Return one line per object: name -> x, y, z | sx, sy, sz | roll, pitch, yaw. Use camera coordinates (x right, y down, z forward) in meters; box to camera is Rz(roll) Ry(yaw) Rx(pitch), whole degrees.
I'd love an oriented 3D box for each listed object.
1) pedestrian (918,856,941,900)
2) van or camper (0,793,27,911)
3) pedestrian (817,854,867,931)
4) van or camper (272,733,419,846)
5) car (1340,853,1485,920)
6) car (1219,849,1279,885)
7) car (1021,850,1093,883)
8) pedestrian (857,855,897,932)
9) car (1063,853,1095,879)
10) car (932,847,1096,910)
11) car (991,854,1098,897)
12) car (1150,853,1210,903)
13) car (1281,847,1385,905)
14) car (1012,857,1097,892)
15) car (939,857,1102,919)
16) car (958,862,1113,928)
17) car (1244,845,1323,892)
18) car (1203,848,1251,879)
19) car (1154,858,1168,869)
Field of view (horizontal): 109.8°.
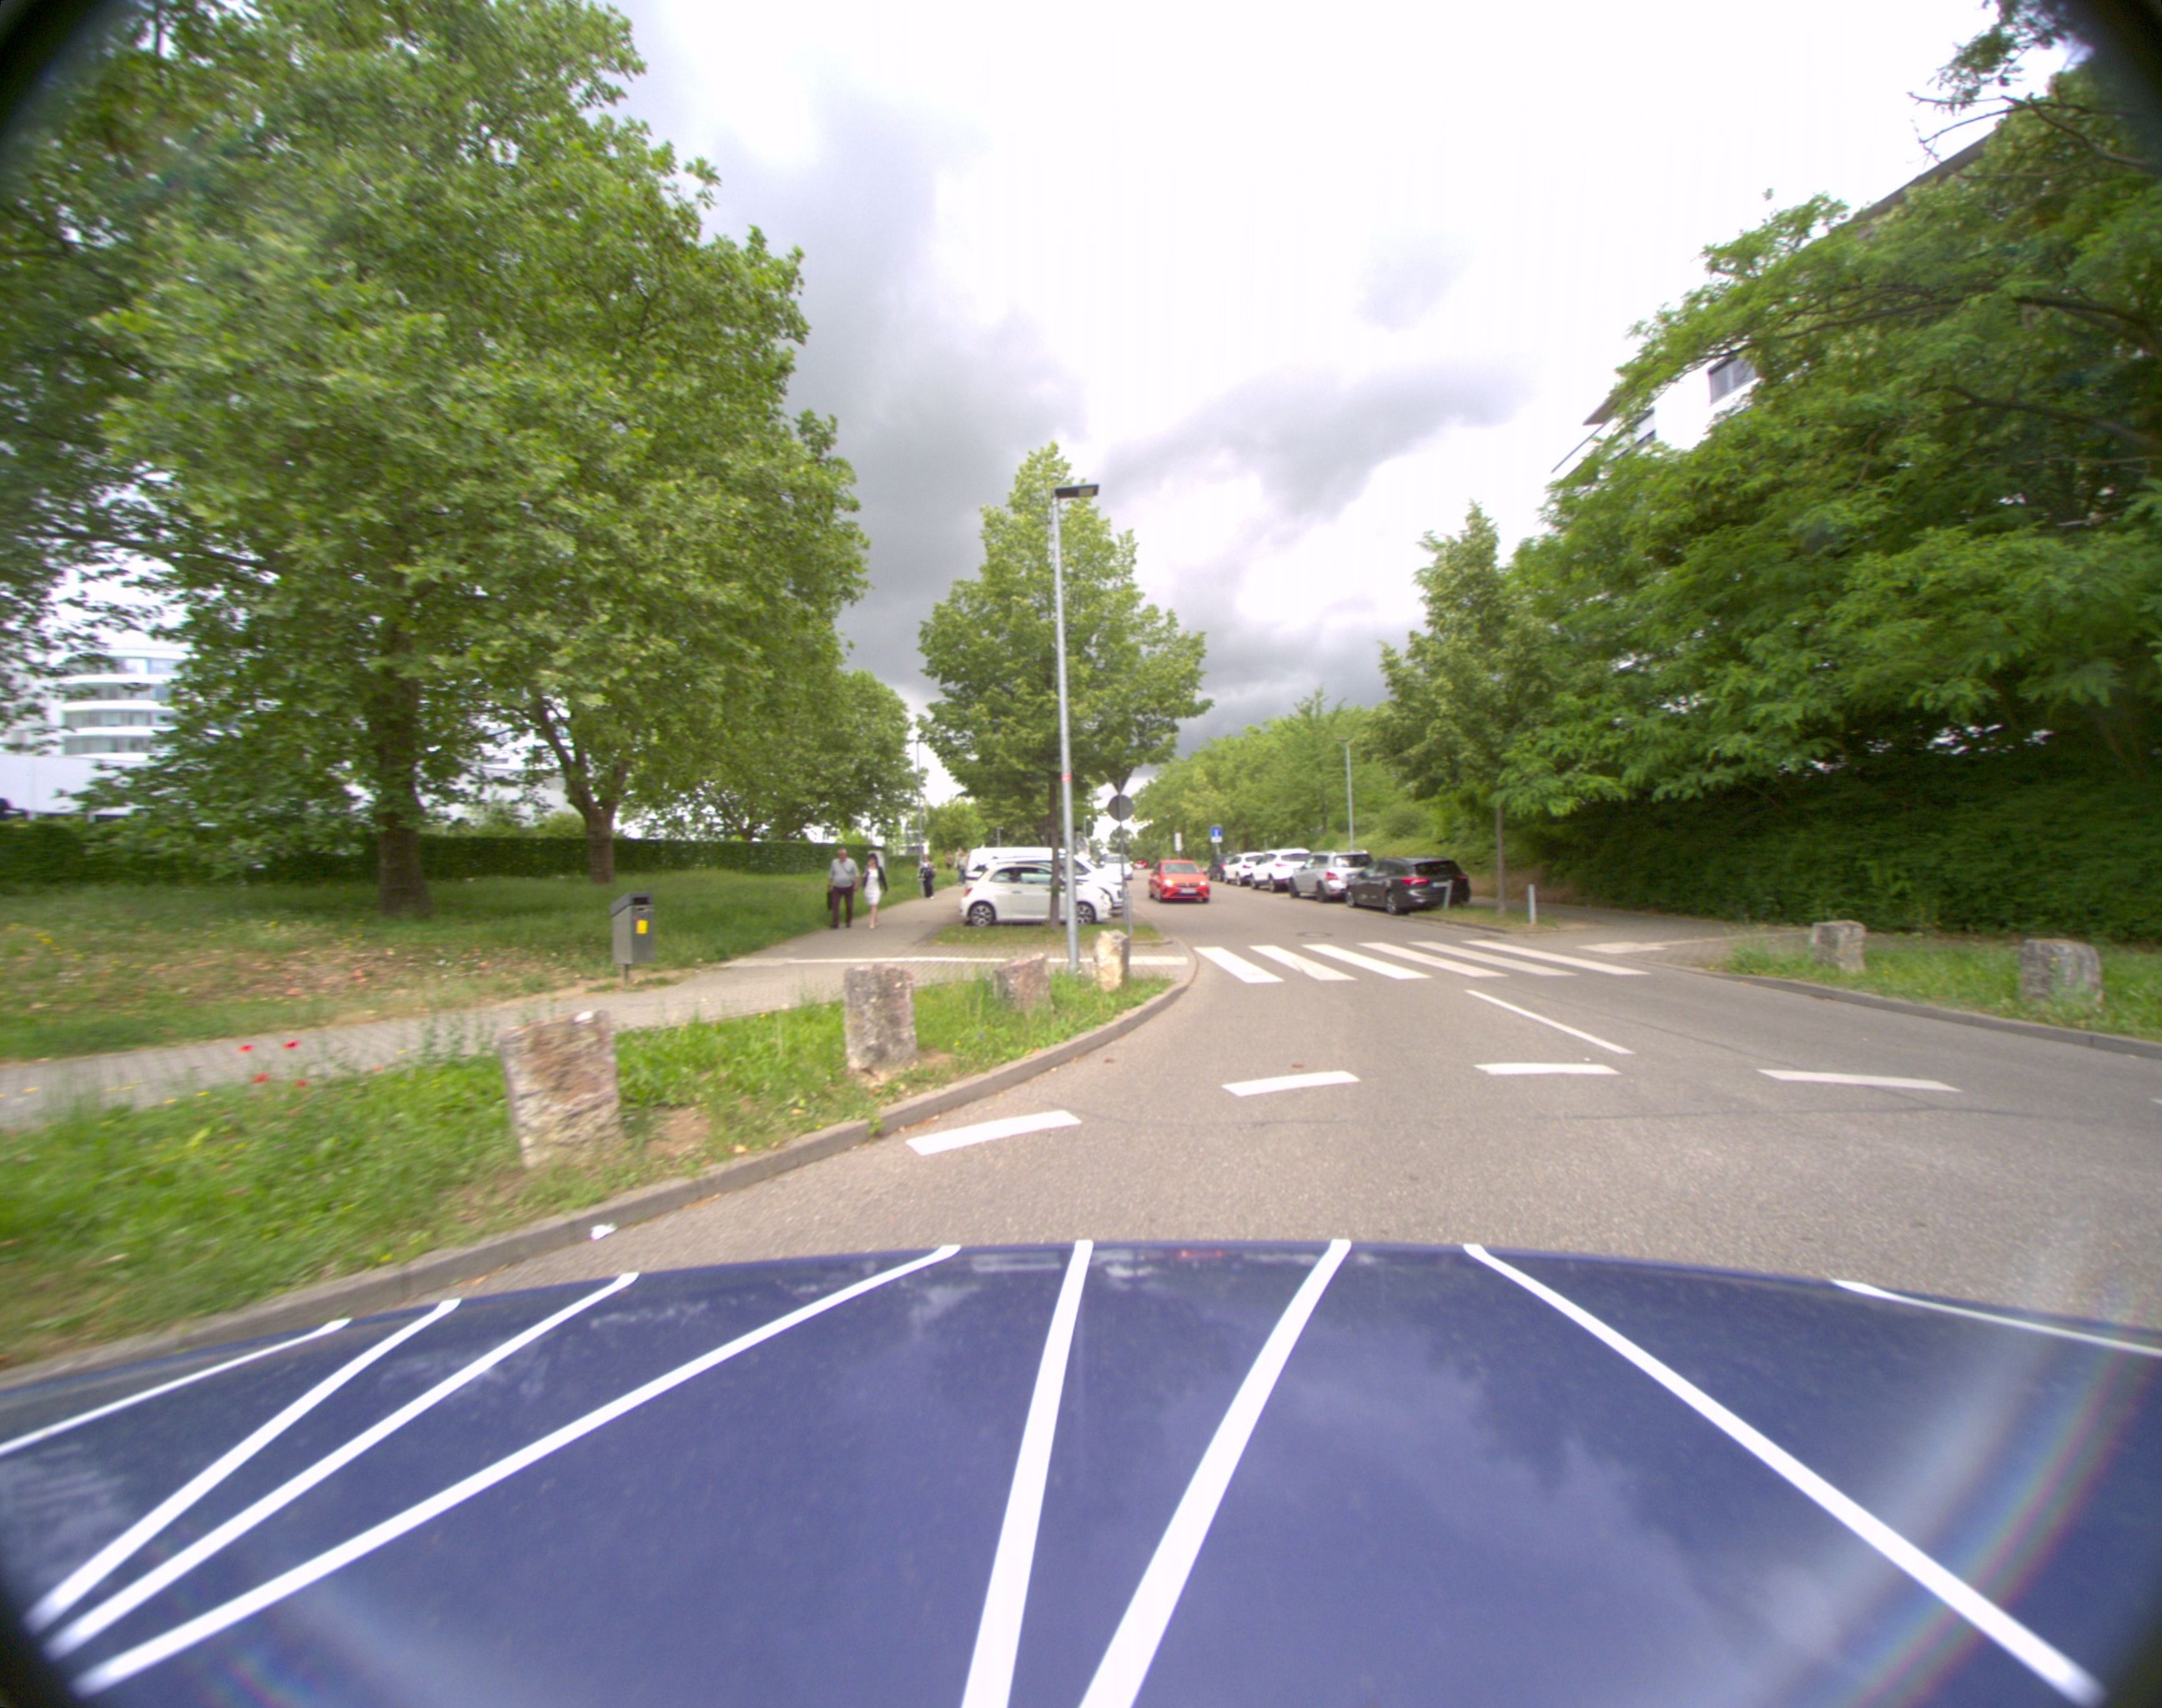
pedestrian -> -5.395, 0.851, 27.070 | 0.678, 1.510, 0.706 | -2, 0, -5
van or camper -> -27.580, 0.028, 18.460 | 4.468, 2.782, 2.119 | -2, 0, 34
pedestrian -> -5.254, 0.835, 16.712 | 0.871, 1.647, 0.593 | -2, 1, -3
van or camper -> -21.267, -1.719, 21.923 | 4.468, 2.782, 2.119 | -2, 0, 34
car -> 8.590, 0.768, 20.185 | 1.694, 1.456, 4.455 | -5, 0, -2
car -> 8.062, 0.597, 36.794 | 1.694, 1.502, 4.229 | -5, 0, -2
car -> -1.209, 0.642, 39.696 | 3.679, 1.637, 1.851 | 0, 0, 0
pedestrian -> -4.488, 0.853, 16.757 | 0.690, 1.647, 0.600 | -2, 1, -3
car -> -0.108, 0.730, 48.218 | 1.758, 1.506, 4.001 | -2, 0, 3
car -> -1.980, 0.712, 23.230 | 4.787, 1.821, 1.842 | 0, 1, -2
car -> -1.356, 0.782, 28.418 | 3.835, 1.511, 1.911 | 0, 1, -3
car -> 3.454, 0.795, 27.007 | 1.758, 1.507, 4.000 | -2, 1, 3
car -> 8.334, 0.648, 25.579 | 1.804, 1.606, 4.476 | -5, 1, -2
car -> -1.324, 0.985, 37.108 | 3.998, 1.510, 1.883 | -2, 1, -4
car -> -1.575, 0.872, 20.332 | 4.162, 1.593, 1.738 | 0, 0, -4
car -> -1.062, 0.954, 18.230 | 3.521, 1.453, 1.738 | 1, 0, -2
car -> 8.210, 0.565, 31.259 | 1.812, 1.655, 4.435 | -5, 0, -2
car -> 8.007, 0.488, 41.897 | 1.694, 1.479, 3.952 | -5, 0, -2
car -> 12.070, 1.449, 114.471 | 1.758, 1.506, 4.001 | -2, 0, 3
